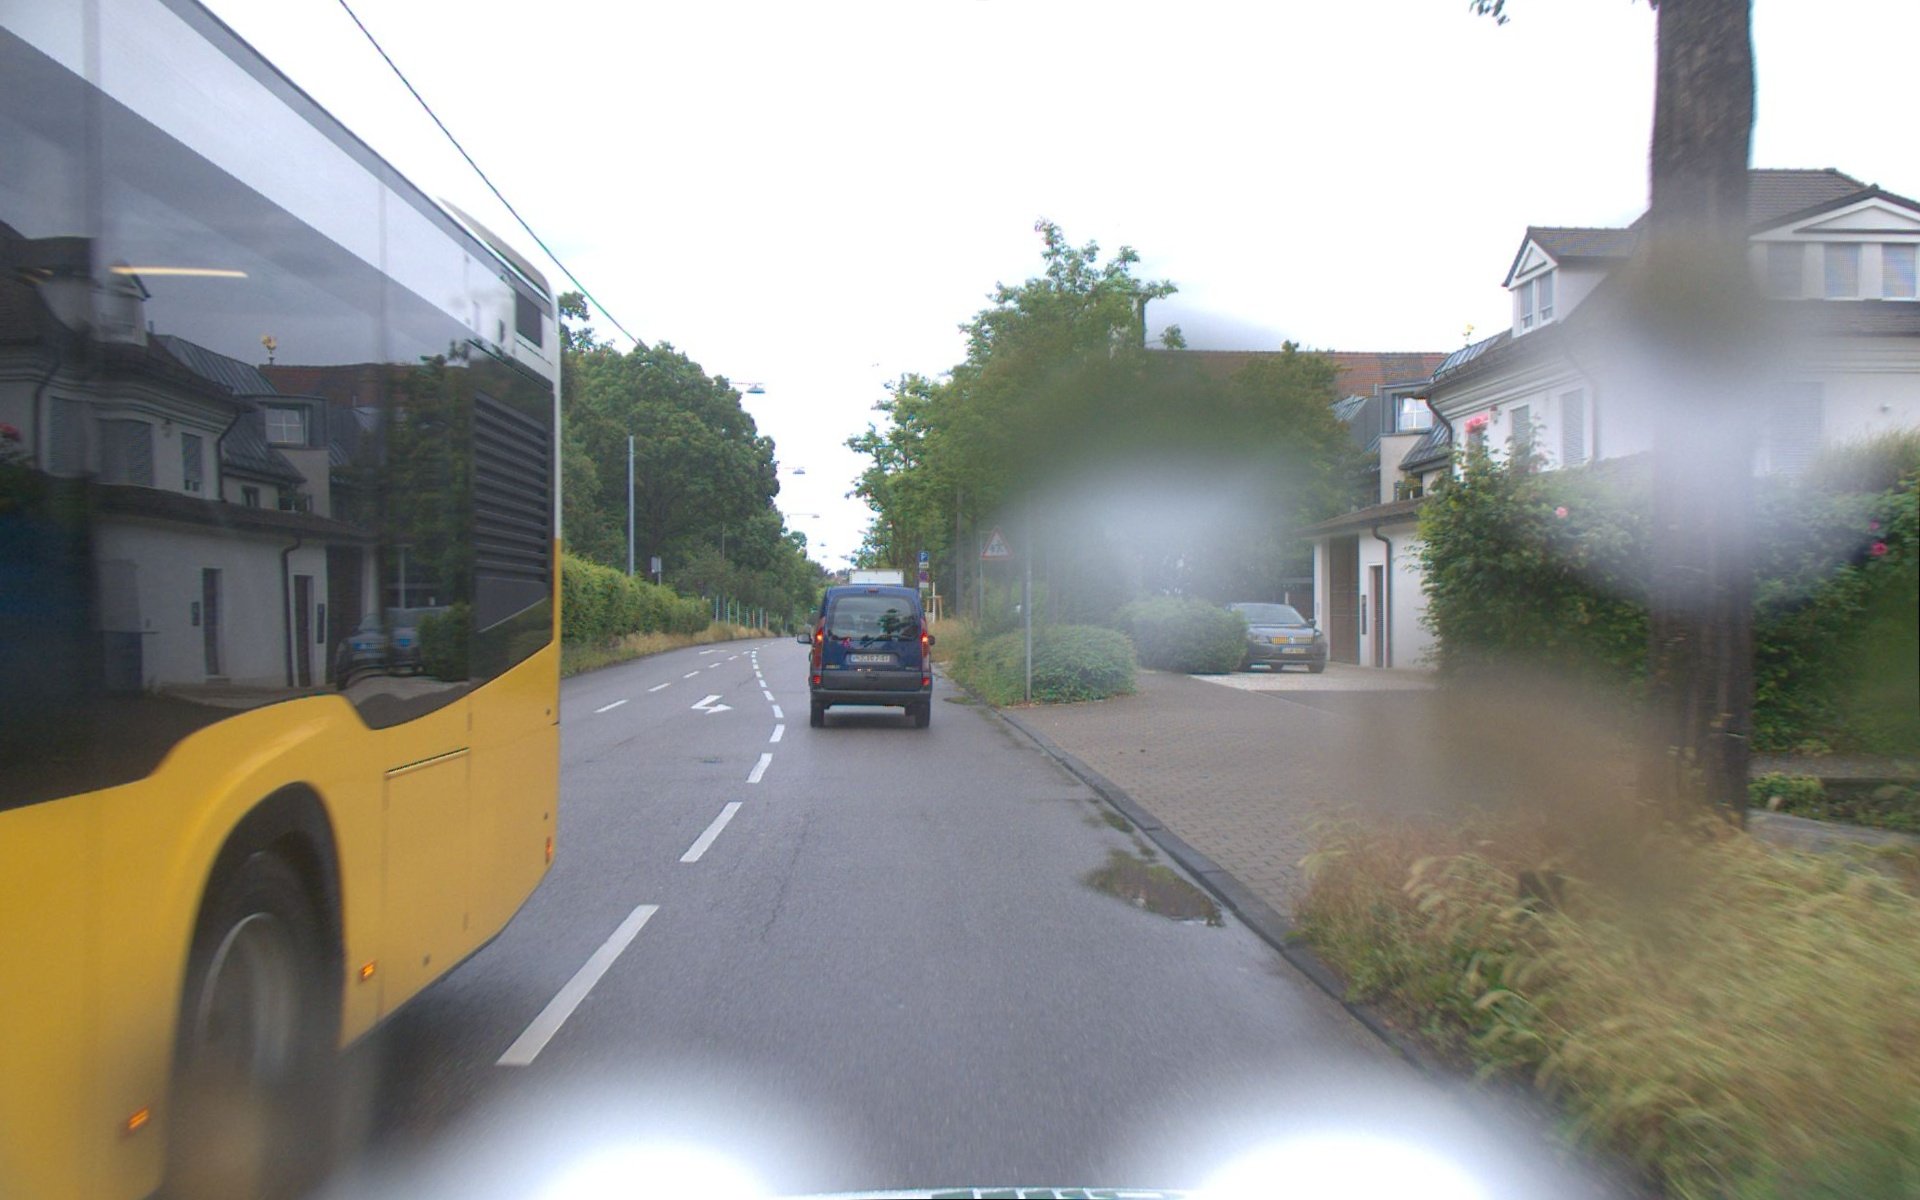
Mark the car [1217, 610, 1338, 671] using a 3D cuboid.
[{"bbox_3d":[6.656,0.827,35.068,1.794,1.197,4.000,1,0,0],"label":"car"}]

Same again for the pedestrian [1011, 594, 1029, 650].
[{"bbox_3d":[1.868,0.689,51.487,0.550,1.738,0.516,0,-1,5],"label":"pedestrian"}]

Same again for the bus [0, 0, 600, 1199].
[{"bbox_3d":[-2.799,-0.120,3.063,2.542,3.213,8.632,1,0,-2],"label":"bus"}]

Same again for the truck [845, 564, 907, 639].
[{"bbox_3d":[-4.125,0.077,80.046,2.678,3.446,6.677,-1,0,-5],"label":"truck"}]

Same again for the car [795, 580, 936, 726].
[{"bbox_3d":[-1.265,0.684,22.901,1.772,1.829,3.998,0,0,-2],"label":"car"}]
